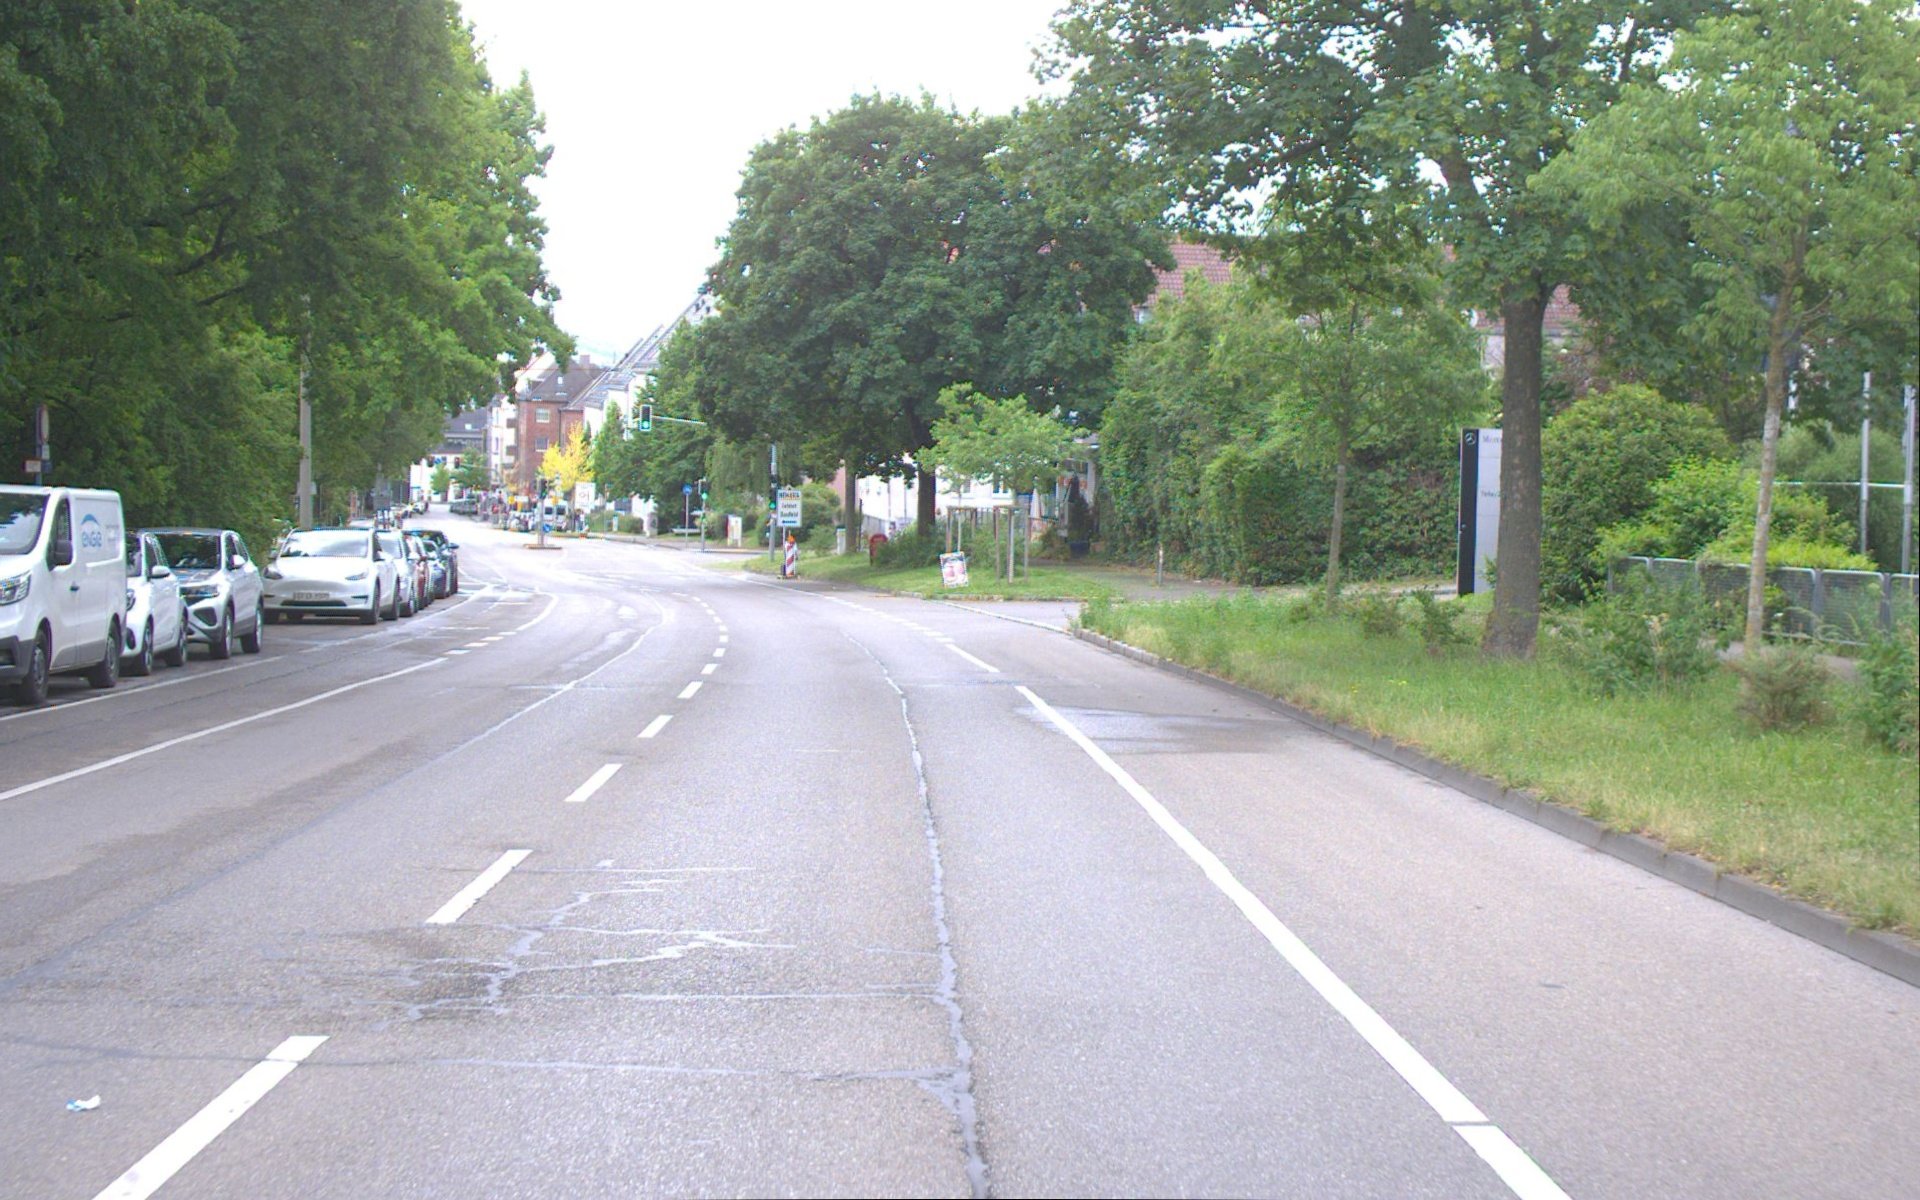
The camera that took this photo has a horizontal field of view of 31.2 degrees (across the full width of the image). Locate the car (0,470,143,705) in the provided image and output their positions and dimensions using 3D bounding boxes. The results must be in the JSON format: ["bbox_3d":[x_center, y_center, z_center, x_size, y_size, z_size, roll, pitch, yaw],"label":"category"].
[{"bbox_3d":[-8.884,-0.170,31.234,1.866,1.957,5.127,1,1,-2],"label":"car"}]

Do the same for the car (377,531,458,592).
[{"bbox_3d":[-12.674,-0.921,80.537,1.715,1.384,4.339,1,1,-7],"label":"car"}]

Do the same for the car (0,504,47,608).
[{"bbox_3d":[-15.825,-0.822,50.110,4.432,1.450,1.887,5,1,0],"label":"car"}]

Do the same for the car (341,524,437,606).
[{"bbox_3d":[-11.499,-0.726,69.424,1.715,1.567,4.372,1,1,-7],"label":"car"}]

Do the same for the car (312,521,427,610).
[{"bbox_3d":[-10.929,-0.649,63.843,1.868,1.567,4.121,1,1,-7],"label":"car"}]

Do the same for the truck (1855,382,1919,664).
[{"bbox_3d":[15.120,-0.945,43.689,7.162,3.465,2.620,0,2,-25],"label":"truck"}]

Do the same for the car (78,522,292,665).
[{"bbox_3d":[-9.360,-0.116,41.812,1.766,1.628,4.158,1,1,-2],"label":"car"}]

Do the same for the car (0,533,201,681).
[{"bbox_3d":[-9.239,0.038,36.944,1.581,1.477,3.720,1,1,-4],"label":"car"}]

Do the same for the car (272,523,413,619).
[{"bbox_3d":[-10.463,-0.512,58.523,1.767,1.567,4.760,0,1,-3],"label":"car"}]
